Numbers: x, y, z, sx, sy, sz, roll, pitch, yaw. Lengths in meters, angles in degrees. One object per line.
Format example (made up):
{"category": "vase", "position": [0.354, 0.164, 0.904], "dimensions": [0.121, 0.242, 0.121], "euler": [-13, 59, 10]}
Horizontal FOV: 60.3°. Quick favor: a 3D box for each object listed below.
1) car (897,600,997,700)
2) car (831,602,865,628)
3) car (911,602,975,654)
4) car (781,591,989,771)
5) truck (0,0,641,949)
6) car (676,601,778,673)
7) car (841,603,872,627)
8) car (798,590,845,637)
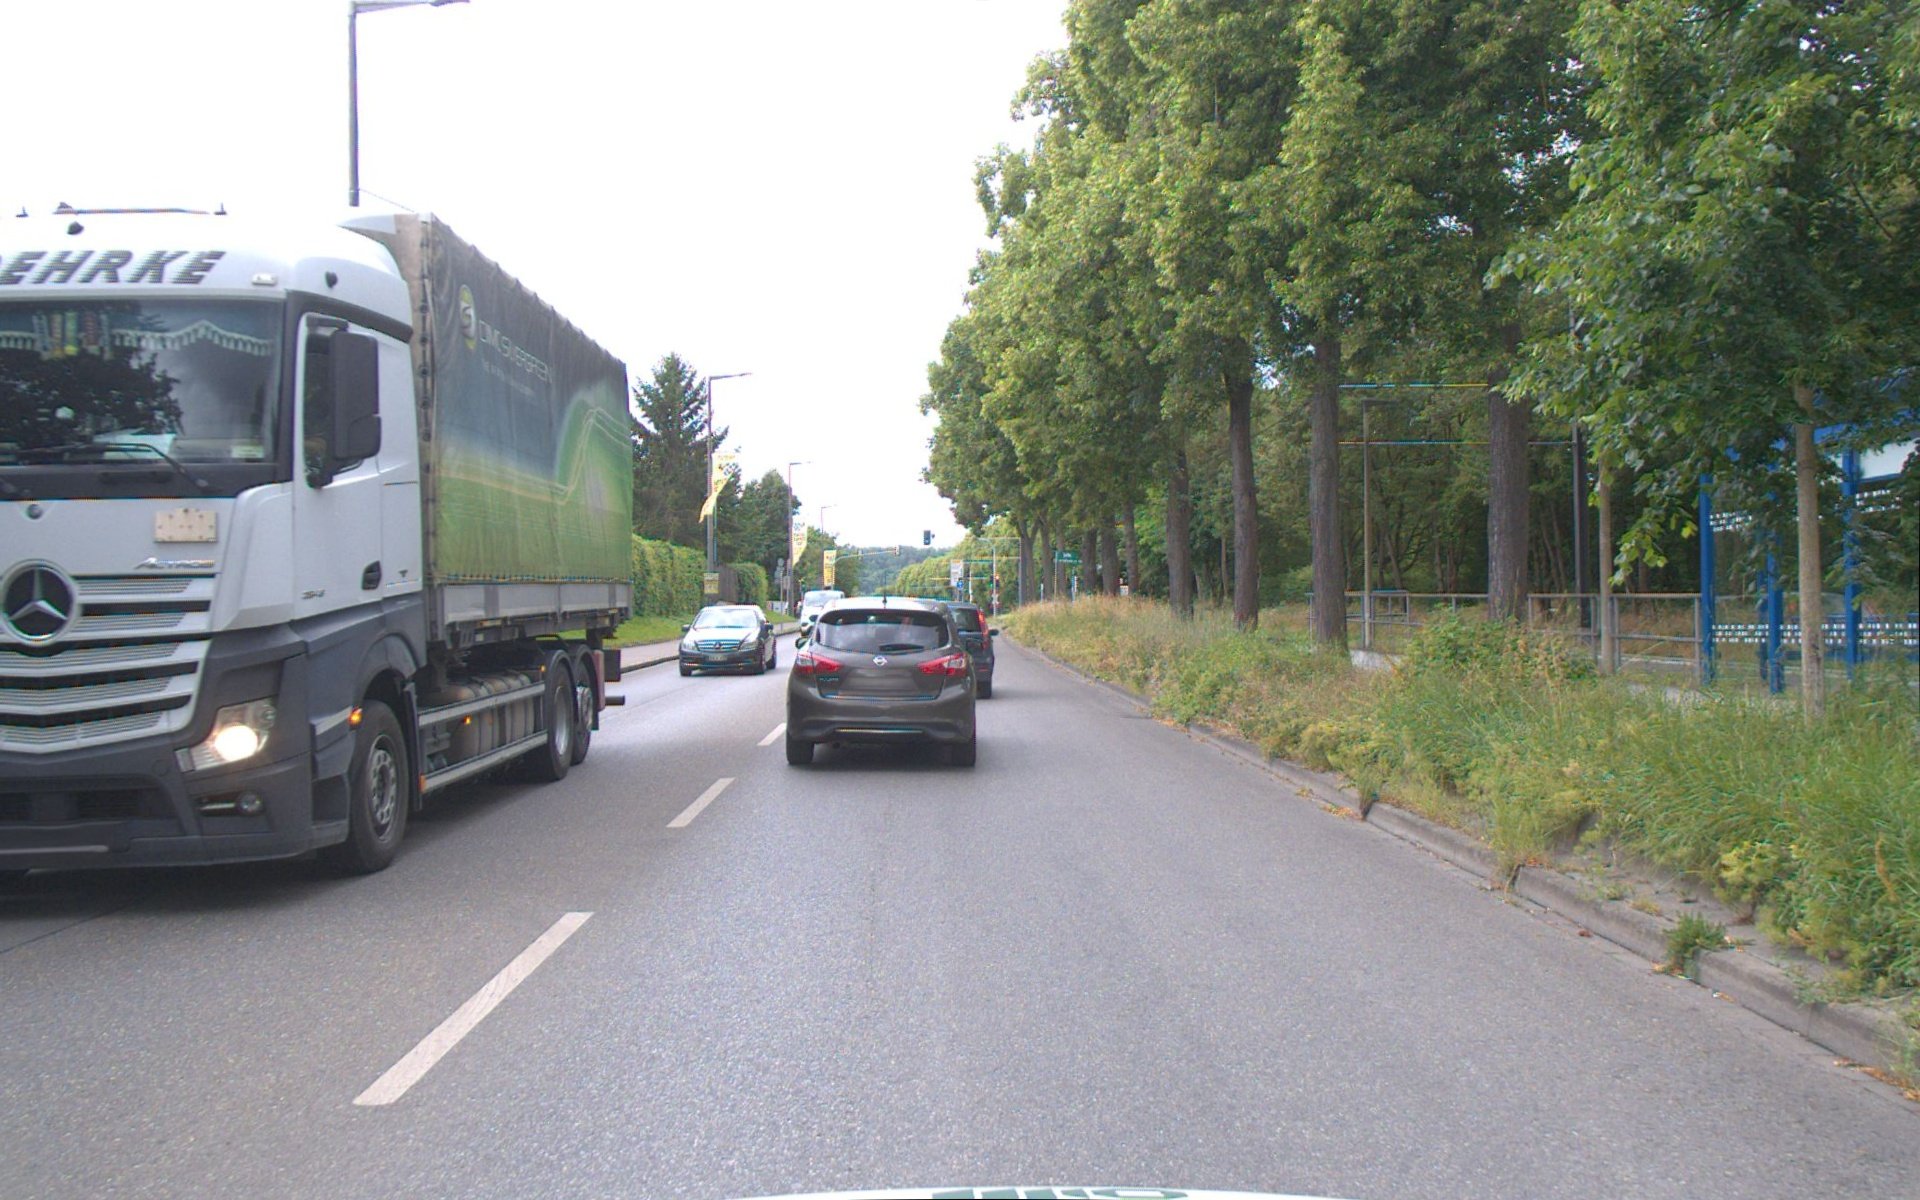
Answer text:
{"category": "car", "position": [-0.230, 0.762, 27.066], "dimensions": [1.507, 1.504, 3.763], "euler": [0, 0, -1]}
{"category": "car", "position": [-6.177, 0.821, 91.554], "dimensions": [1.617, 1.371, 4.476], "euler": [-1, 0, -1]}
{"category": "car", "position": [-0.513, 0.763, 47.553], "dimensions": [1.756, 1.421, 3.999], "euler": [0, 0, -1]}
{"category": "car", "position": [-0.689, 0.703, 16.600], "dimensions": [1.798, 1.545, 4.481], "euler": [0, 0, -1]}
{"category": "truck", "position": [-4.550, -0.509, 12.362], "dimensions": [2.499, 4.114, 10.615], "euler": [-2, -1, -2]}
{"category": "car", "position": [-4.941, 0.756, 35.534], "dimensions": [1.698, 1.399, 4.238], "euler": [-1, 0, -2]}
{"category": "car", "position": [-6.478, 0.941, 104.084], "dimensions": [1.848, 1.407, 4.488], "euler": [-1, 0, -3]}
{"category": "car", "position": [-6.182, 0.576, 74.447], "dimensions": [1.868, 1.966, 4.909], "euler": [-1, 1, -2]}
